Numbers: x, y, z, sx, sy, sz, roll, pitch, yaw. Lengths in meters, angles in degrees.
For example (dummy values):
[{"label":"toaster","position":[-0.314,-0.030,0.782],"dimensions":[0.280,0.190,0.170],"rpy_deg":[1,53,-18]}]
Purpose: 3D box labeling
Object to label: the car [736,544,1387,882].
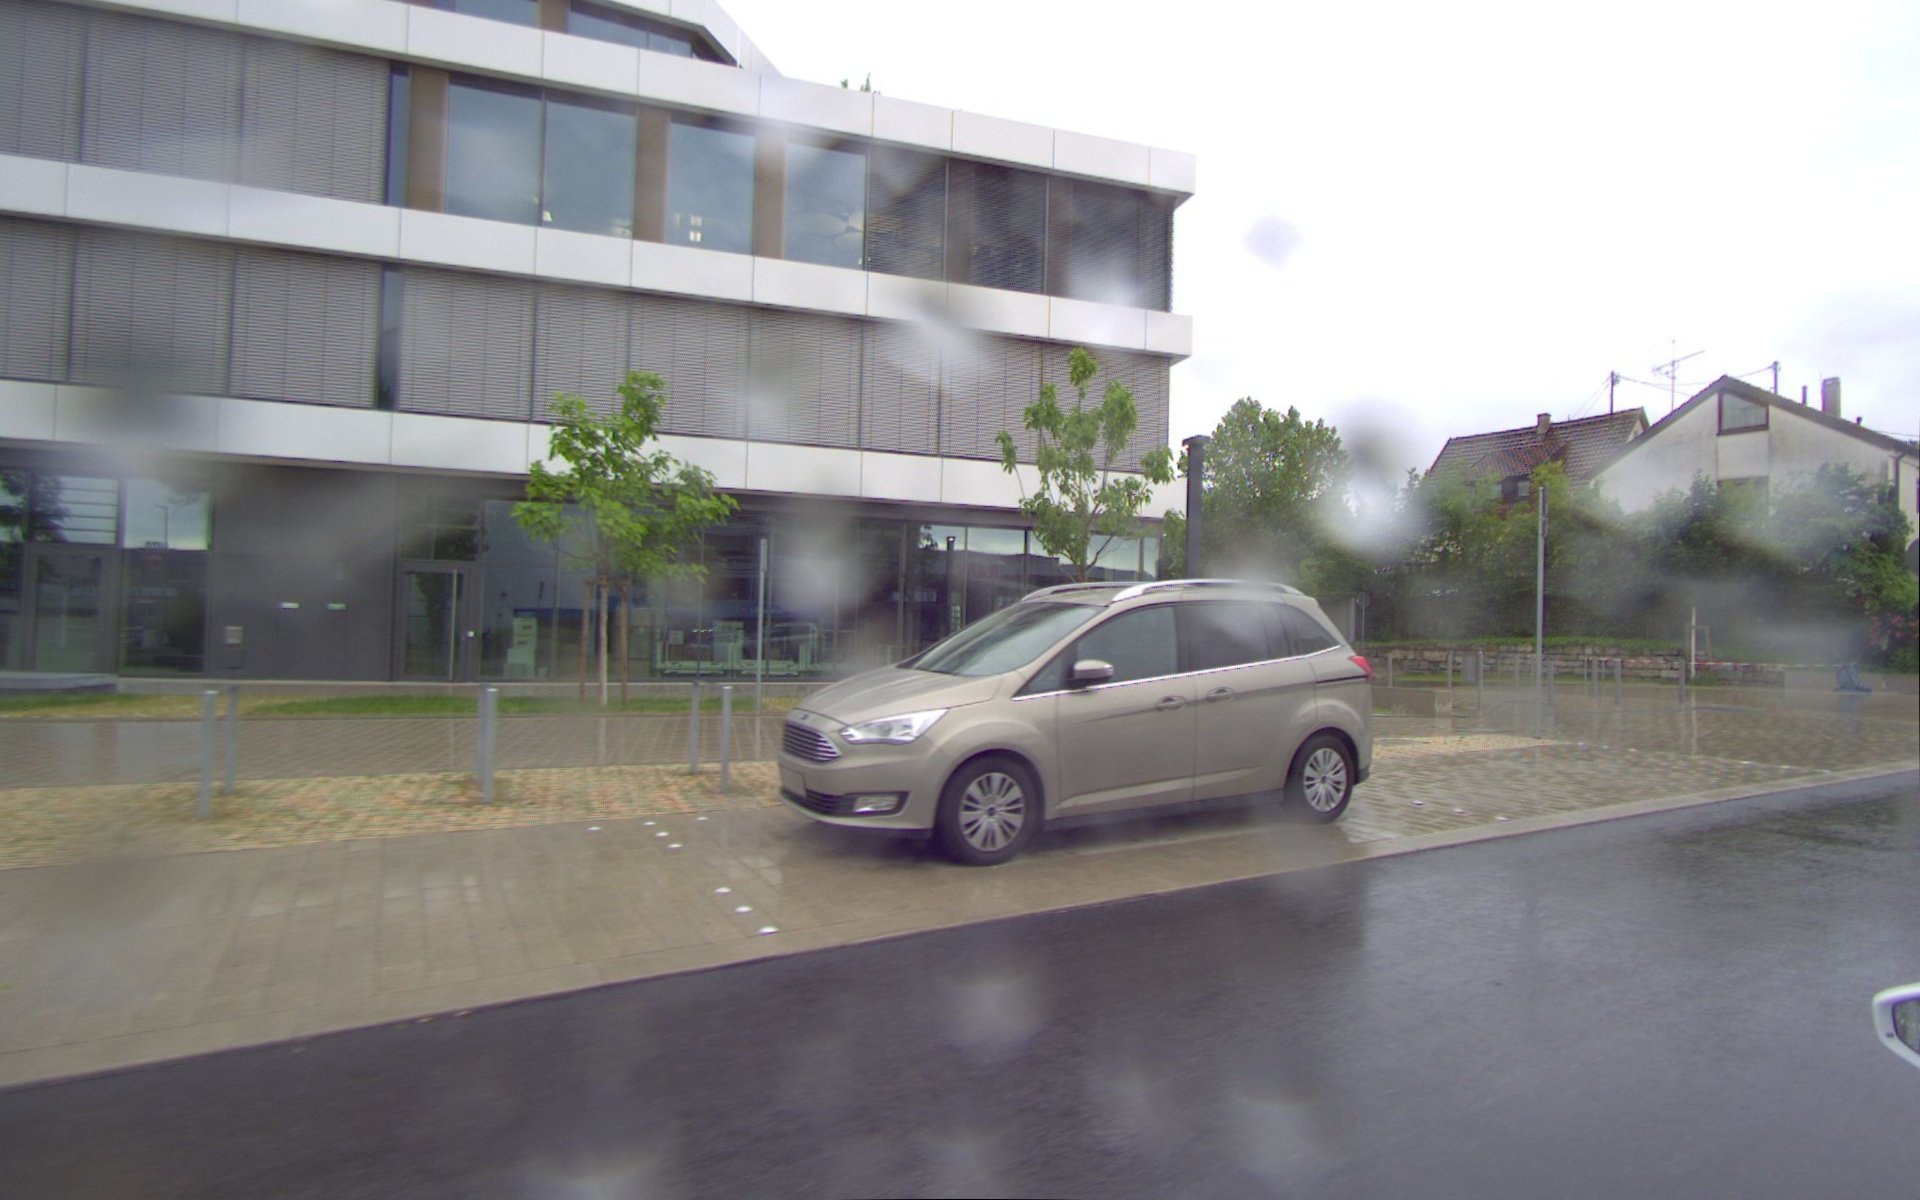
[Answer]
[{"label":"car","position":[0.799,0.637,7.016],"dimensions":[4.272,1.728,1.829],"rpy_deg":[1,-1,-30]}]
